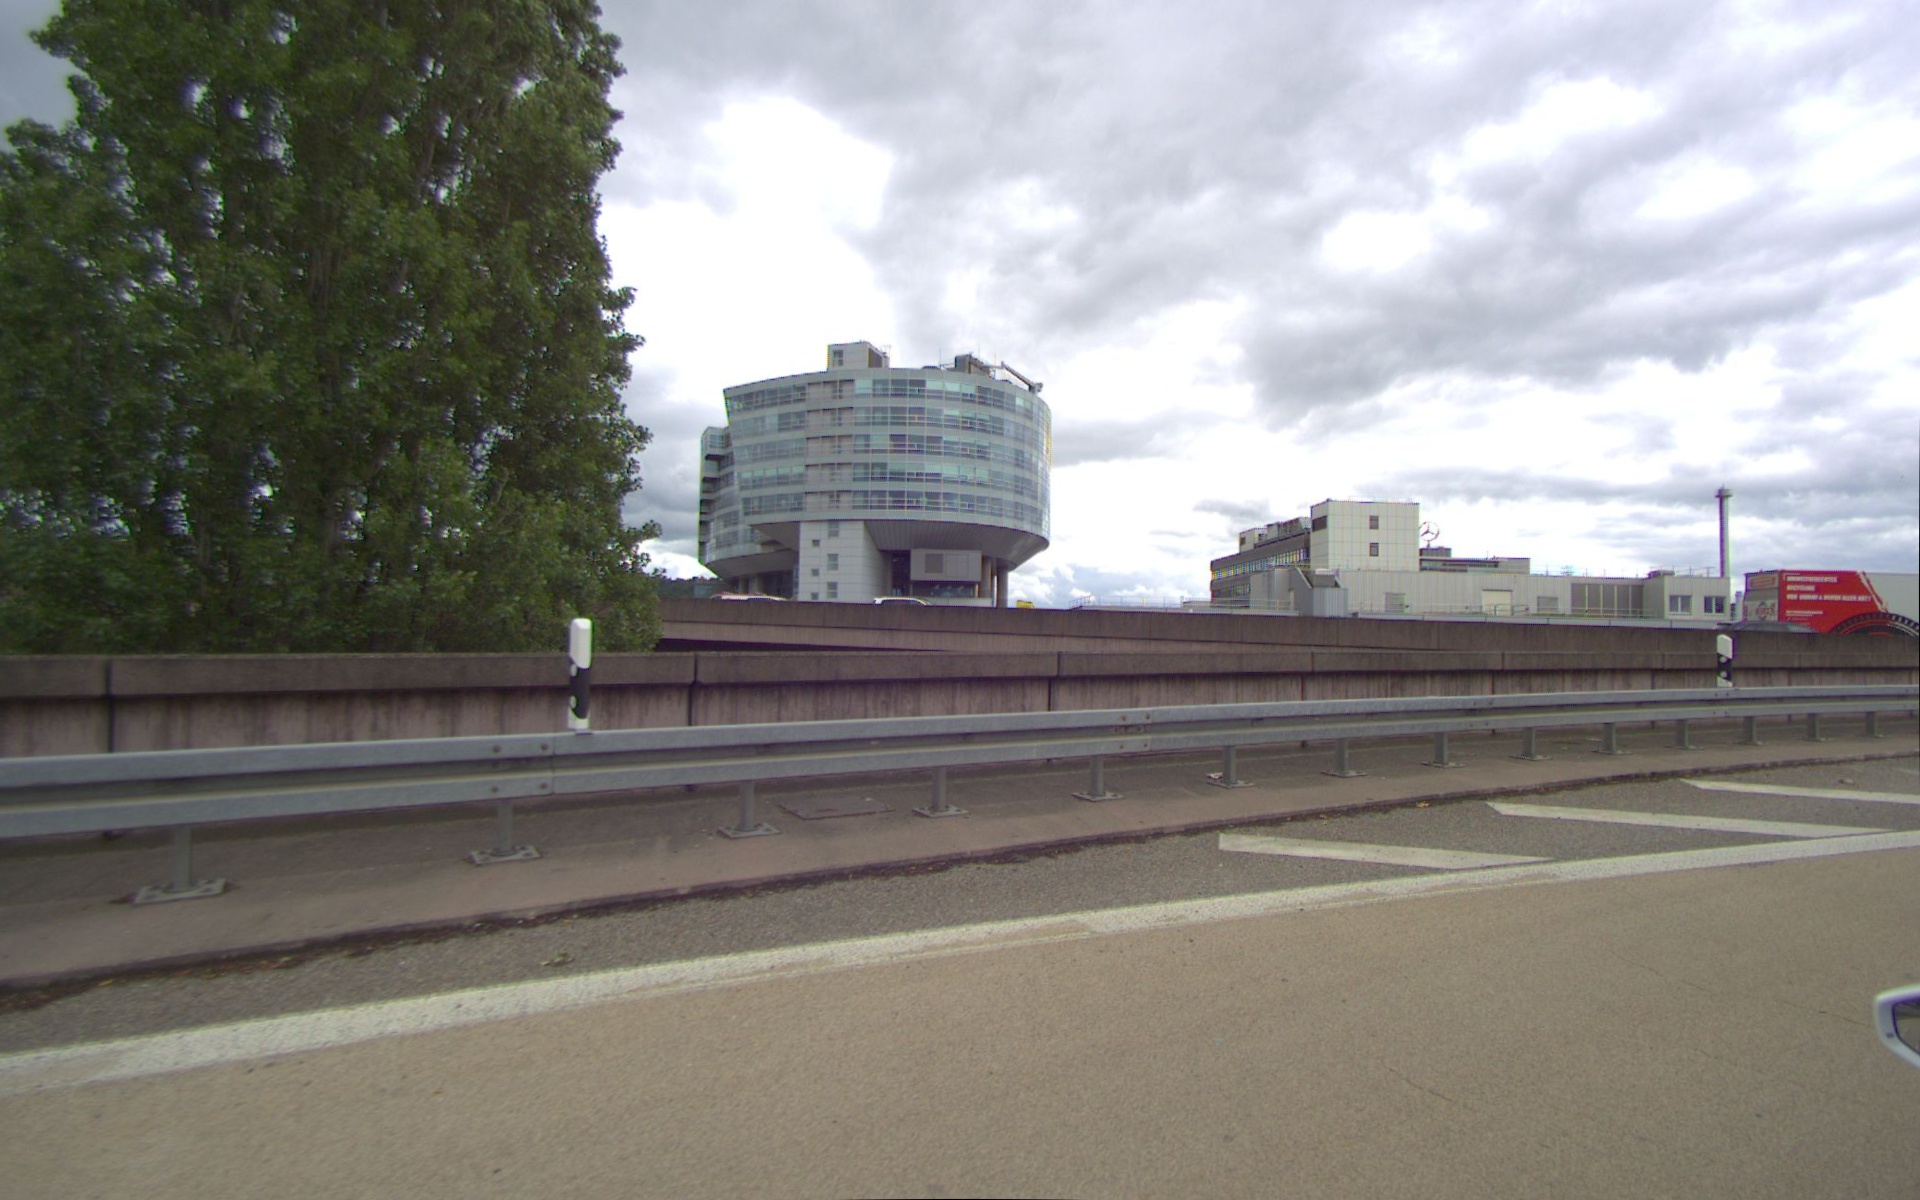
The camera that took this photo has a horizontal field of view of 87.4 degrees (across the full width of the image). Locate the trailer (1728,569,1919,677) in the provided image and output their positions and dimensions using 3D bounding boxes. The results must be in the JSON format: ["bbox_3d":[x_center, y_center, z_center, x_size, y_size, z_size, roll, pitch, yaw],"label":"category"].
[{"bbox_3d":[32.664,0.858,36.393,7.165,3.738,2.701,1,-2,15],"label":"trailer"}]

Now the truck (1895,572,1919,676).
[{"bbox_3d":[36.438,0.882,35.376,4.350,3.738,2.701,1,-2,15],"label":"truck"}]

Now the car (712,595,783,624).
[{"bbox_3d":[-12.016,0.507,56.837,3.577,1.539,1.689,1,2,17],"label":"car"}]

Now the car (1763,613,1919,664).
[{"bbox_3d":[29.938,1.277,33.753,4.179,1.525,1.853,1,0,16],"label":"car"}]

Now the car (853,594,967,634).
[{"bbox_3d":[-2.288,0.618,46.027,4.794,1.691,2.000,1,0,18],"label":"car"}]

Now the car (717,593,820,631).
[{"bbox_3d":[-8.139,0.475,42.752,3.919,1.517,1.715,1,0,16],"label":"car"}]
